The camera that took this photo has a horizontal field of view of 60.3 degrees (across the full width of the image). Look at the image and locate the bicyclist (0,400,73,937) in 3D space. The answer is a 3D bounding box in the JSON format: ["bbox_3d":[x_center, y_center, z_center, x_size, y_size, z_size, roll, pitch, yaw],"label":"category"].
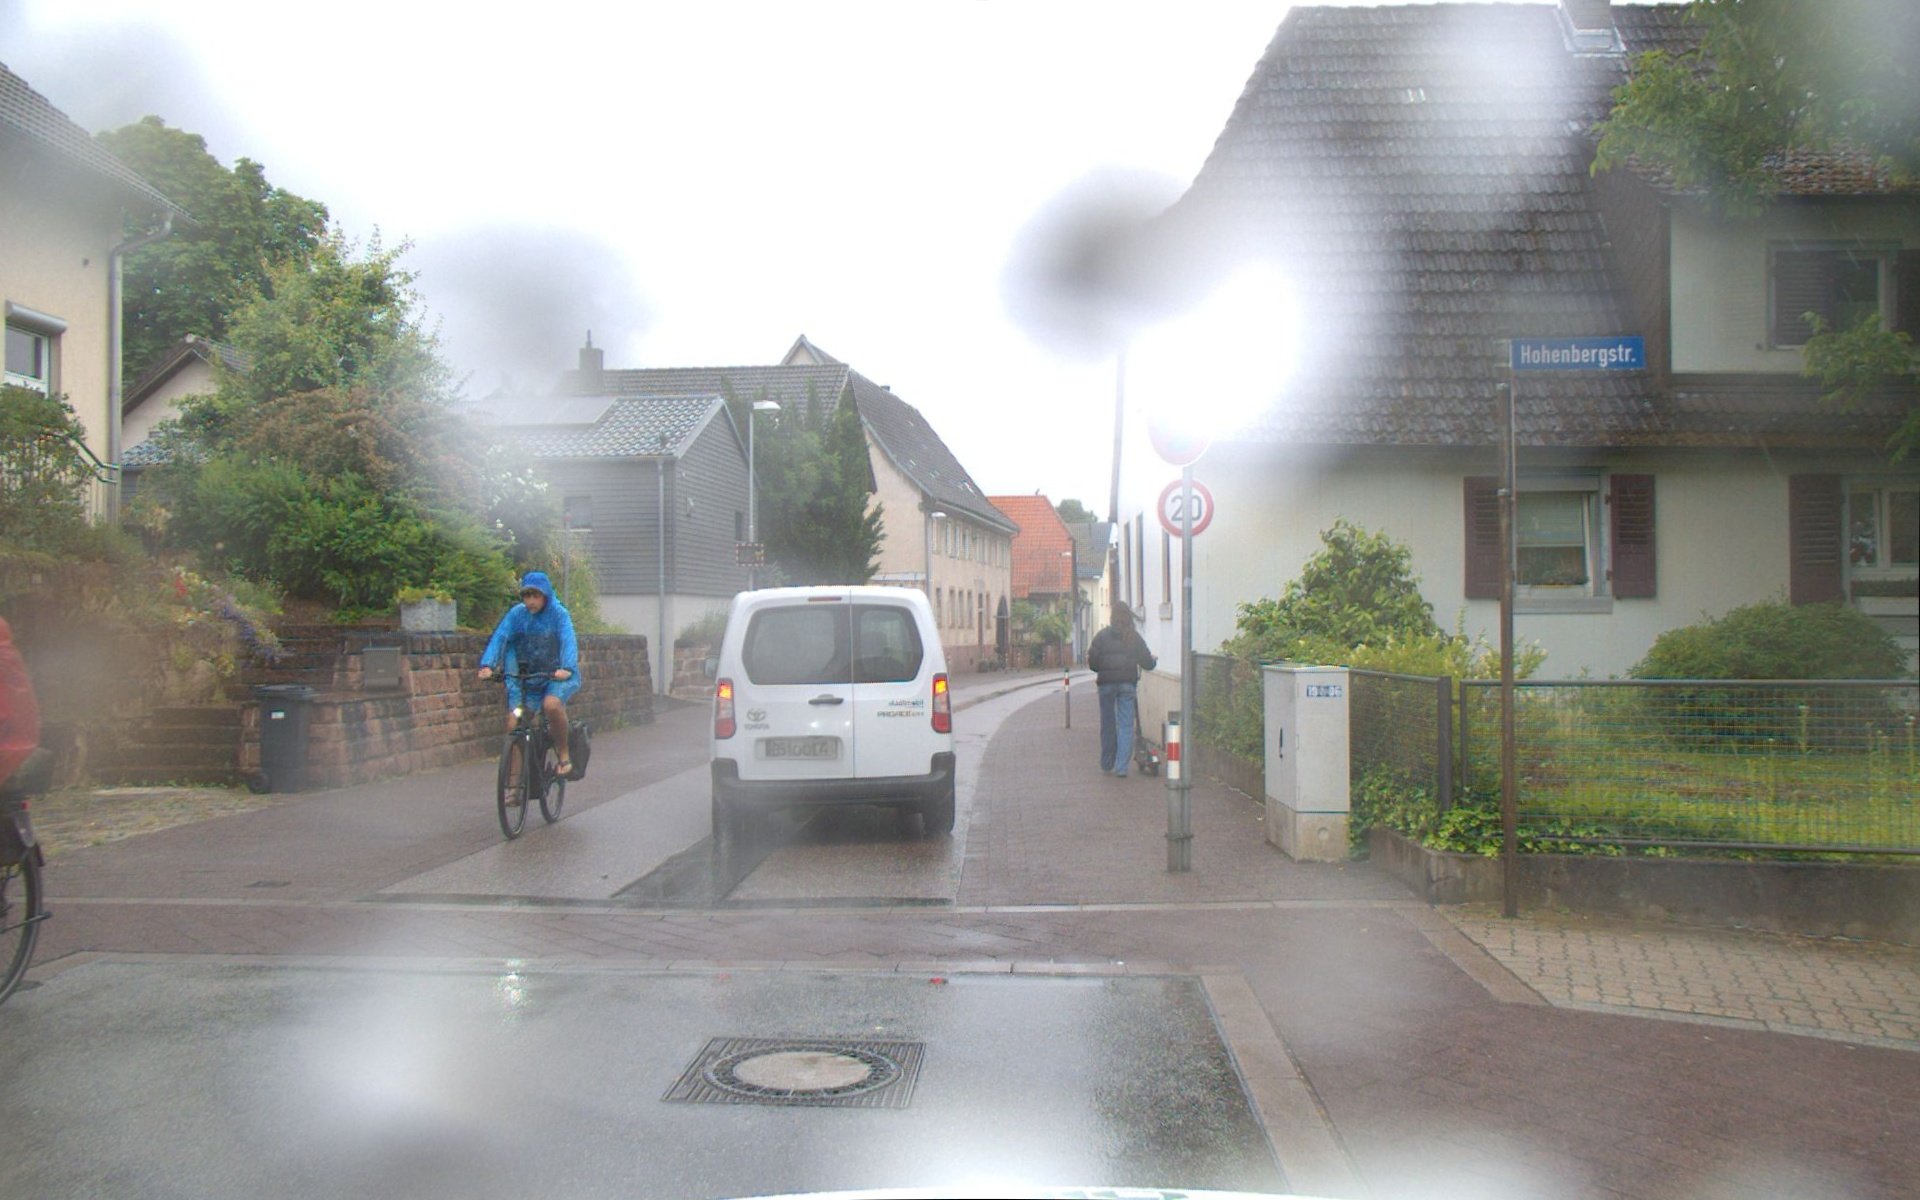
[{"bbox_3d":[-3.531,0.227,5.598,0.643,1.801,0.703,1,0,2],"label":"bicyclist"}]

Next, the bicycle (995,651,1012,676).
[{"bbox_3d":[2.127,3.095,80.235,0.473,1.201,1.836,0,-2,13],"label":"bicycle"}]

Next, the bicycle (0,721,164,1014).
[{"bbox_3d":[-3.532,0.938,5.624,0.647,0.885,1.935,1,0,2],"label":"bicycle"}]

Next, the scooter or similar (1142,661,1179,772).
[{"bbox_3d":[2.000,1.148,16.538,0.240,1.046,1.100,1,-1,1],"label":"scooter or similar"}]

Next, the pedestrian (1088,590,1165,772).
[{"bbox_3d":[1.667,0.801,16.628,0.680,1.763,0.821,1,-1,2],"label":"pedestrian"}]

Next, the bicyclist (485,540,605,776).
[{"bbox_3d":[-3.158,0.444,12.648,0.673,1.743,0.703,1,-2,2],"label":"bicyclist"}]

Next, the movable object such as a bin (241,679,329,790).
[{"bbox_3d":[-5.996,1.186,14.710,0.527,0.947,0.544,1,-2,0],"label":"movable object such as a bin"}]

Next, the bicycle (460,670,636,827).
[{"bbox_3d":[-3.100,1.081,12.688,0.666,1.069,2.339,1,-2,2],"label":"bicycle"}]

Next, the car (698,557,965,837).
[{"bbox_3d":[-1.101,0.747,13.263,1.761,1.851,4.094,2,-3,-7],"label":"car"}]
